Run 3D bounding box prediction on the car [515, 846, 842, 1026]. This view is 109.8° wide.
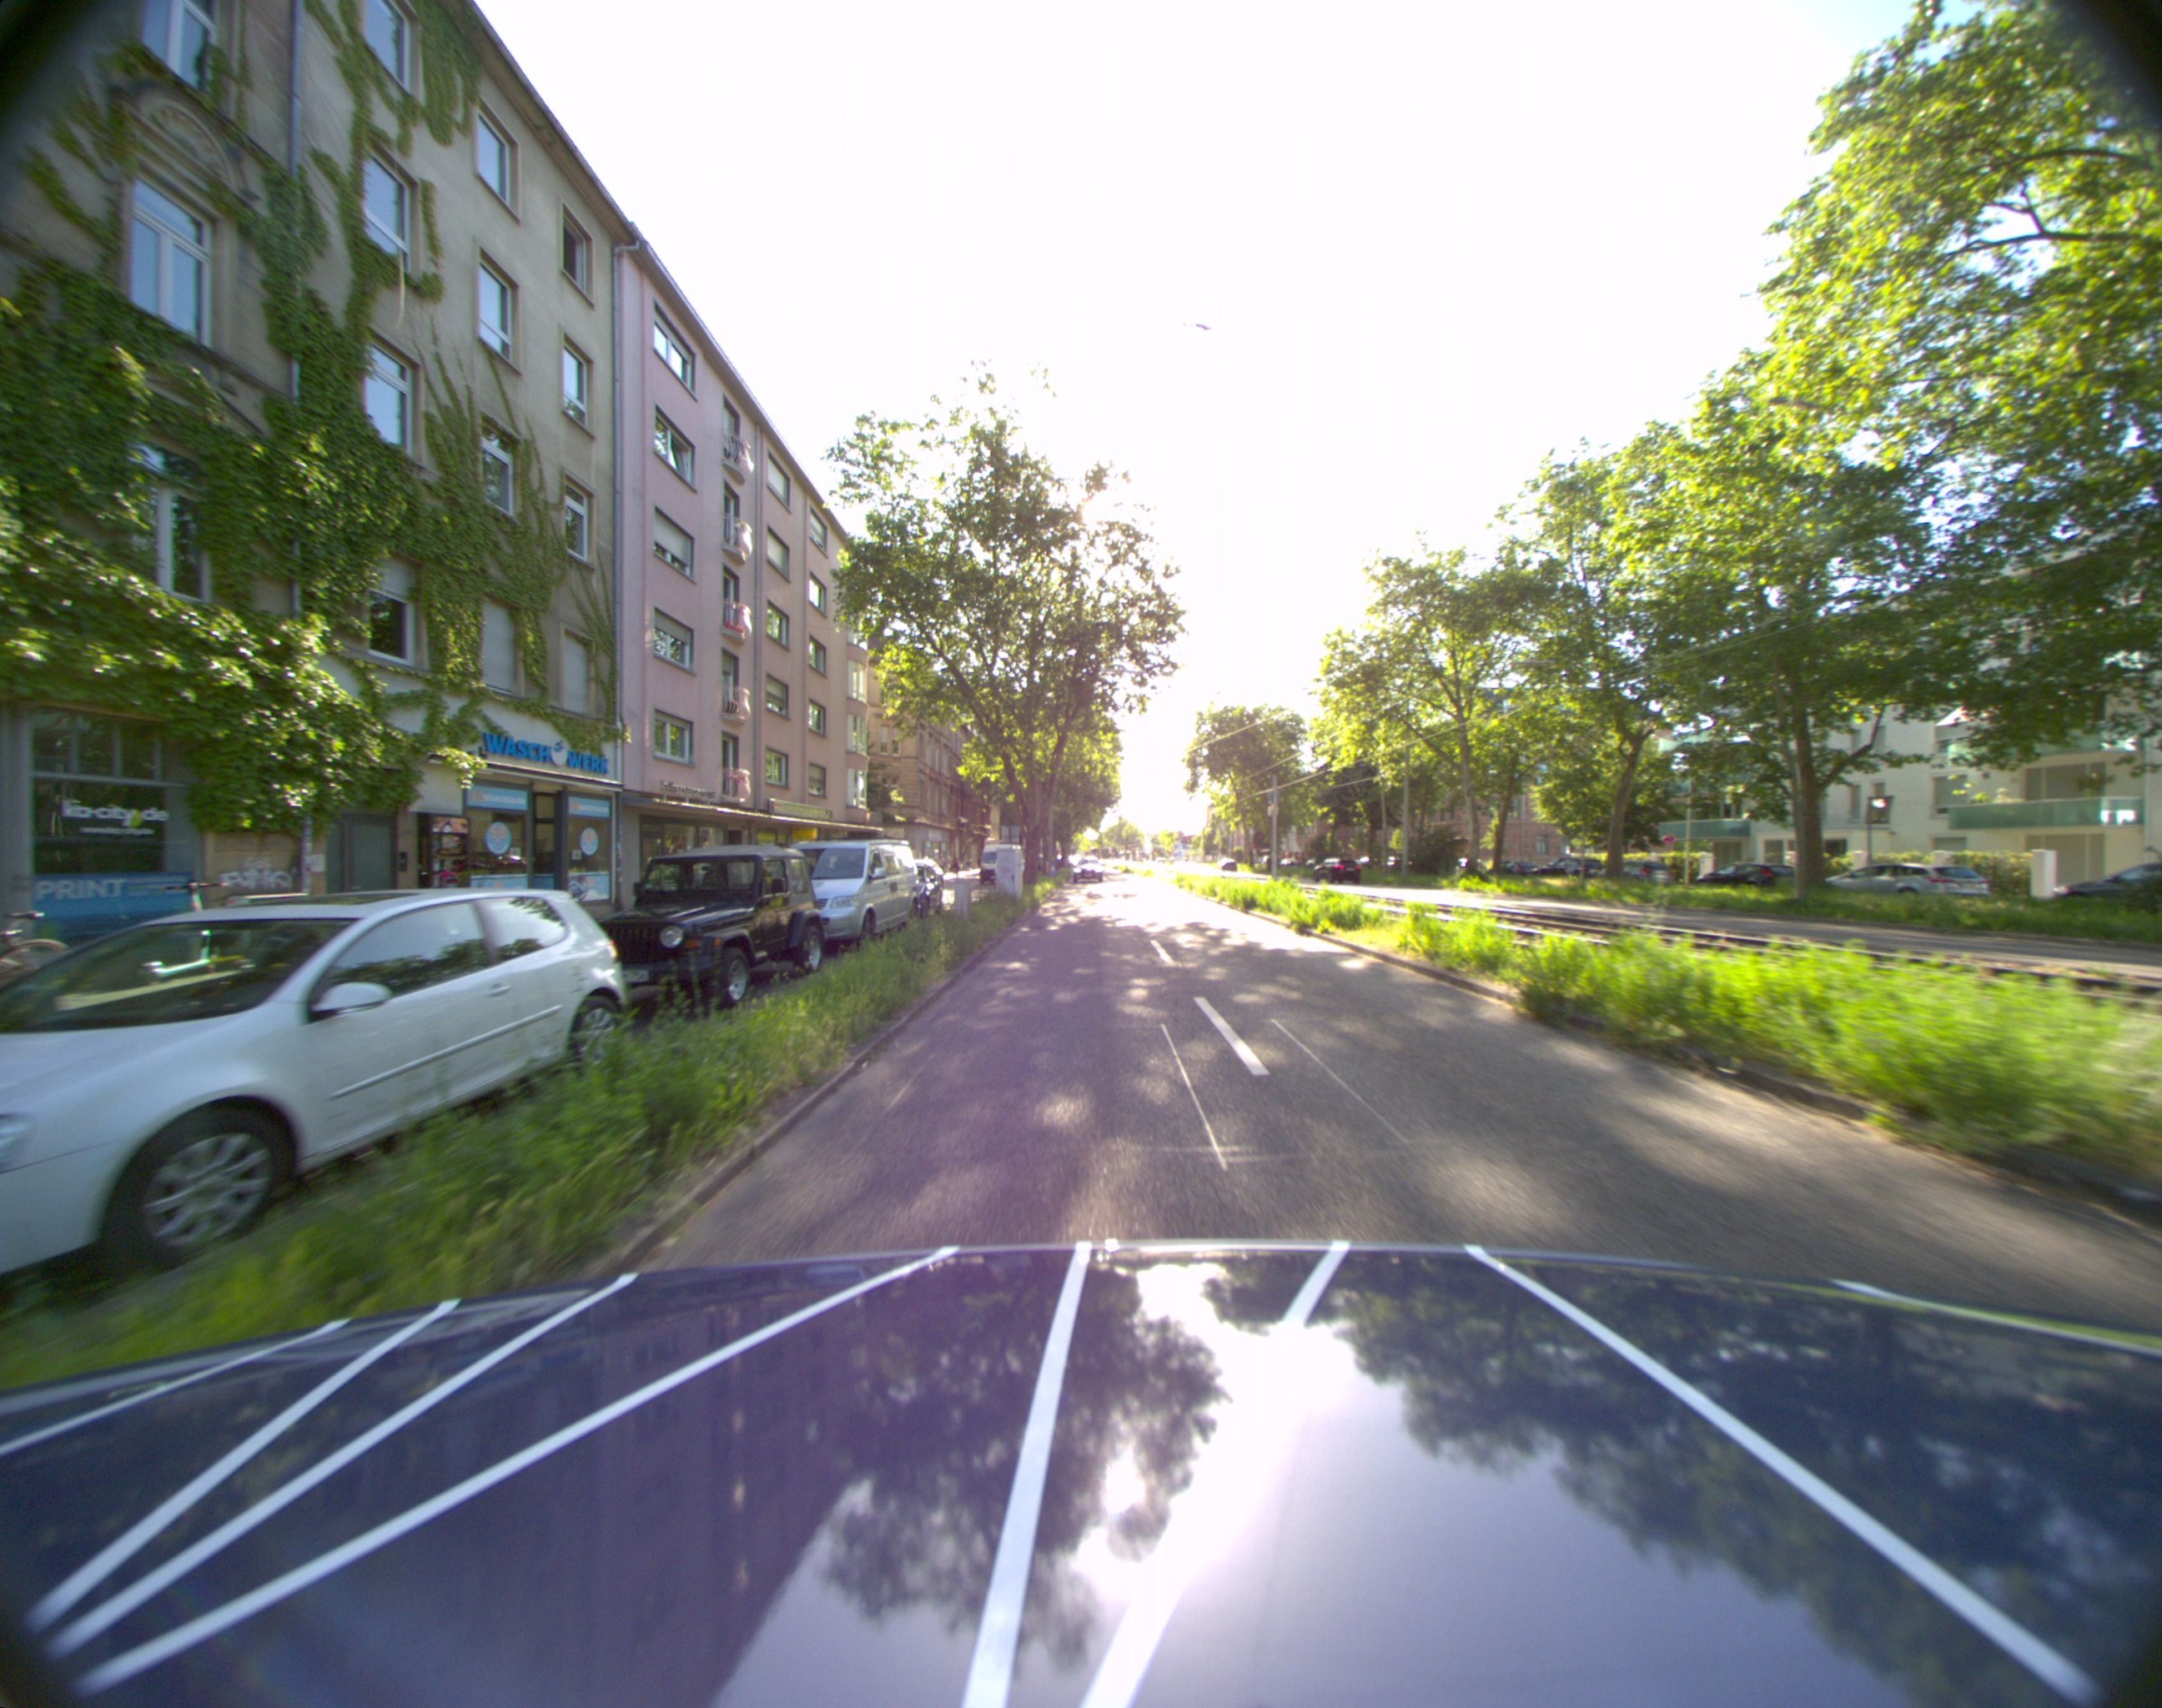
[{"bbox_3d":[-4.555,0.808,9.409,1.869,1.753,4.000,0,0,1],"label":"car"}]

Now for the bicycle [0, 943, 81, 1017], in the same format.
[{"bbox_3d":[-11.566,1.359,7.845,0.469,0.701,1.513,0,0,1],"label":"bicycle"}]

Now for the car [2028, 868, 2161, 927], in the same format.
[{"bbox_3d":[28.234,1.131,19.709,1.998,1.444,4.319,0,0,1],"label":"car"}]

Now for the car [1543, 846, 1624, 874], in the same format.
[{"bbox_3d":[28.392,0.324,43.065,1.998,1.477,4.000,0,0,1],"label":"car"}]

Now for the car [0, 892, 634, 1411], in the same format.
[{"bbox_3d":[-4.455,1.099,4.078,1.743,1.508,3.999,-3,0,-1],"label":"car"}]

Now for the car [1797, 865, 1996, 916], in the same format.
[{"bbox_3d":[28.227,1.194,26.590,1.998,1.582,4.655,0,0,1],"label":"car"}]

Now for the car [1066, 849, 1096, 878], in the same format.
[{"bbox_3d":[0.054,0.603,51.126,1.876,1.788,4.633,-1,0,1],"label":"car"}]

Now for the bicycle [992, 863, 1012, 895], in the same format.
[{"bbox_3d":[-3.097,0.953,29.850,0.466,1.207,1.751,0,0,4],"label":"bicycle"}]

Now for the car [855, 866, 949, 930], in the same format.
[{"bbox_3d":[-4.562,1.062,19.870,1.594,1.470,3.828,0,0,-1],"label":"car"}]

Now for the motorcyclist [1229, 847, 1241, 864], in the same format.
[{"bbox_3d":[25.621,0.250,126.394,1.747,2.905,1.680,0,0,1],"label":"motorcyclist"}]

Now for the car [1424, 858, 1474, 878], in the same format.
[{"bbox_3d":[28.553,1.092,59.012,1.998,1.477,4.000,0,0,1],"label":"car"}]

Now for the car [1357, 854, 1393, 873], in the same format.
[{"bbox_3d":[28.224,0.900,73.022,1.998,1.838,4.000,0,0,1],"label":"car"}]

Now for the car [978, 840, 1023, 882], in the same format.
[{"bbox_3d":[-5.001,0.420,48.049,2.079,2.420,5.856,-1,0,1],"label":"car"}]

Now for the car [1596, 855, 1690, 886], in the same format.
[{"bbox_3d":[28.252,0.786,38.354,1.801,1.464,4.000,0,0,1],"label":"car"}]

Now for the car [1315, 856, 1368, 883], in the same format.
[{"bbox_3d":[17.135,0.999,50.255,1.862,1.637,4.460,2,0,-1],"label":"car"}]

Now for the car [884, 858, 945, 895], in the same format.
[{"bbox_3d":[-7.557,0.970,34.858,1.814,1.592,4.137,0,0,1],"label":"car"}]

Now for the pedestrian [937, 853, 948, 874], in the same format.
[{"bbox_3d":[-10.328,0.721,56.670,0.738,1.556,0.731,0,0,0],"label":"pedestrian"}]

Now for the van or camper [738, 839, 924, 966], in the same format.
[{"bbox_3d":[-4.460,0.765,14.498,1.889,2.002,5.094,0,0,0],"label":"van or camper"}]

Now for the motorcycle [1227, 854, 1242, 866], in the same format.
[{"bbox_3d":[25.587,0.975,126.774,1.729,2.045,3.999,0,0,-1],"label":"motorcycle"}]

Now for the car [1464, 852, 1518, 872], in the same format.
[{"bbox_3d":[31.191,0.569,57.896,1.998,1.477,4.000,0,0,1],"label":"car"}]

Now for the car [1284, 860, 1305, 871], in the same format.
[{"bbox_3d":[27.863,1.509,99.310,1.771,1.477,3.688,0,0,1],"label":"car"}]
